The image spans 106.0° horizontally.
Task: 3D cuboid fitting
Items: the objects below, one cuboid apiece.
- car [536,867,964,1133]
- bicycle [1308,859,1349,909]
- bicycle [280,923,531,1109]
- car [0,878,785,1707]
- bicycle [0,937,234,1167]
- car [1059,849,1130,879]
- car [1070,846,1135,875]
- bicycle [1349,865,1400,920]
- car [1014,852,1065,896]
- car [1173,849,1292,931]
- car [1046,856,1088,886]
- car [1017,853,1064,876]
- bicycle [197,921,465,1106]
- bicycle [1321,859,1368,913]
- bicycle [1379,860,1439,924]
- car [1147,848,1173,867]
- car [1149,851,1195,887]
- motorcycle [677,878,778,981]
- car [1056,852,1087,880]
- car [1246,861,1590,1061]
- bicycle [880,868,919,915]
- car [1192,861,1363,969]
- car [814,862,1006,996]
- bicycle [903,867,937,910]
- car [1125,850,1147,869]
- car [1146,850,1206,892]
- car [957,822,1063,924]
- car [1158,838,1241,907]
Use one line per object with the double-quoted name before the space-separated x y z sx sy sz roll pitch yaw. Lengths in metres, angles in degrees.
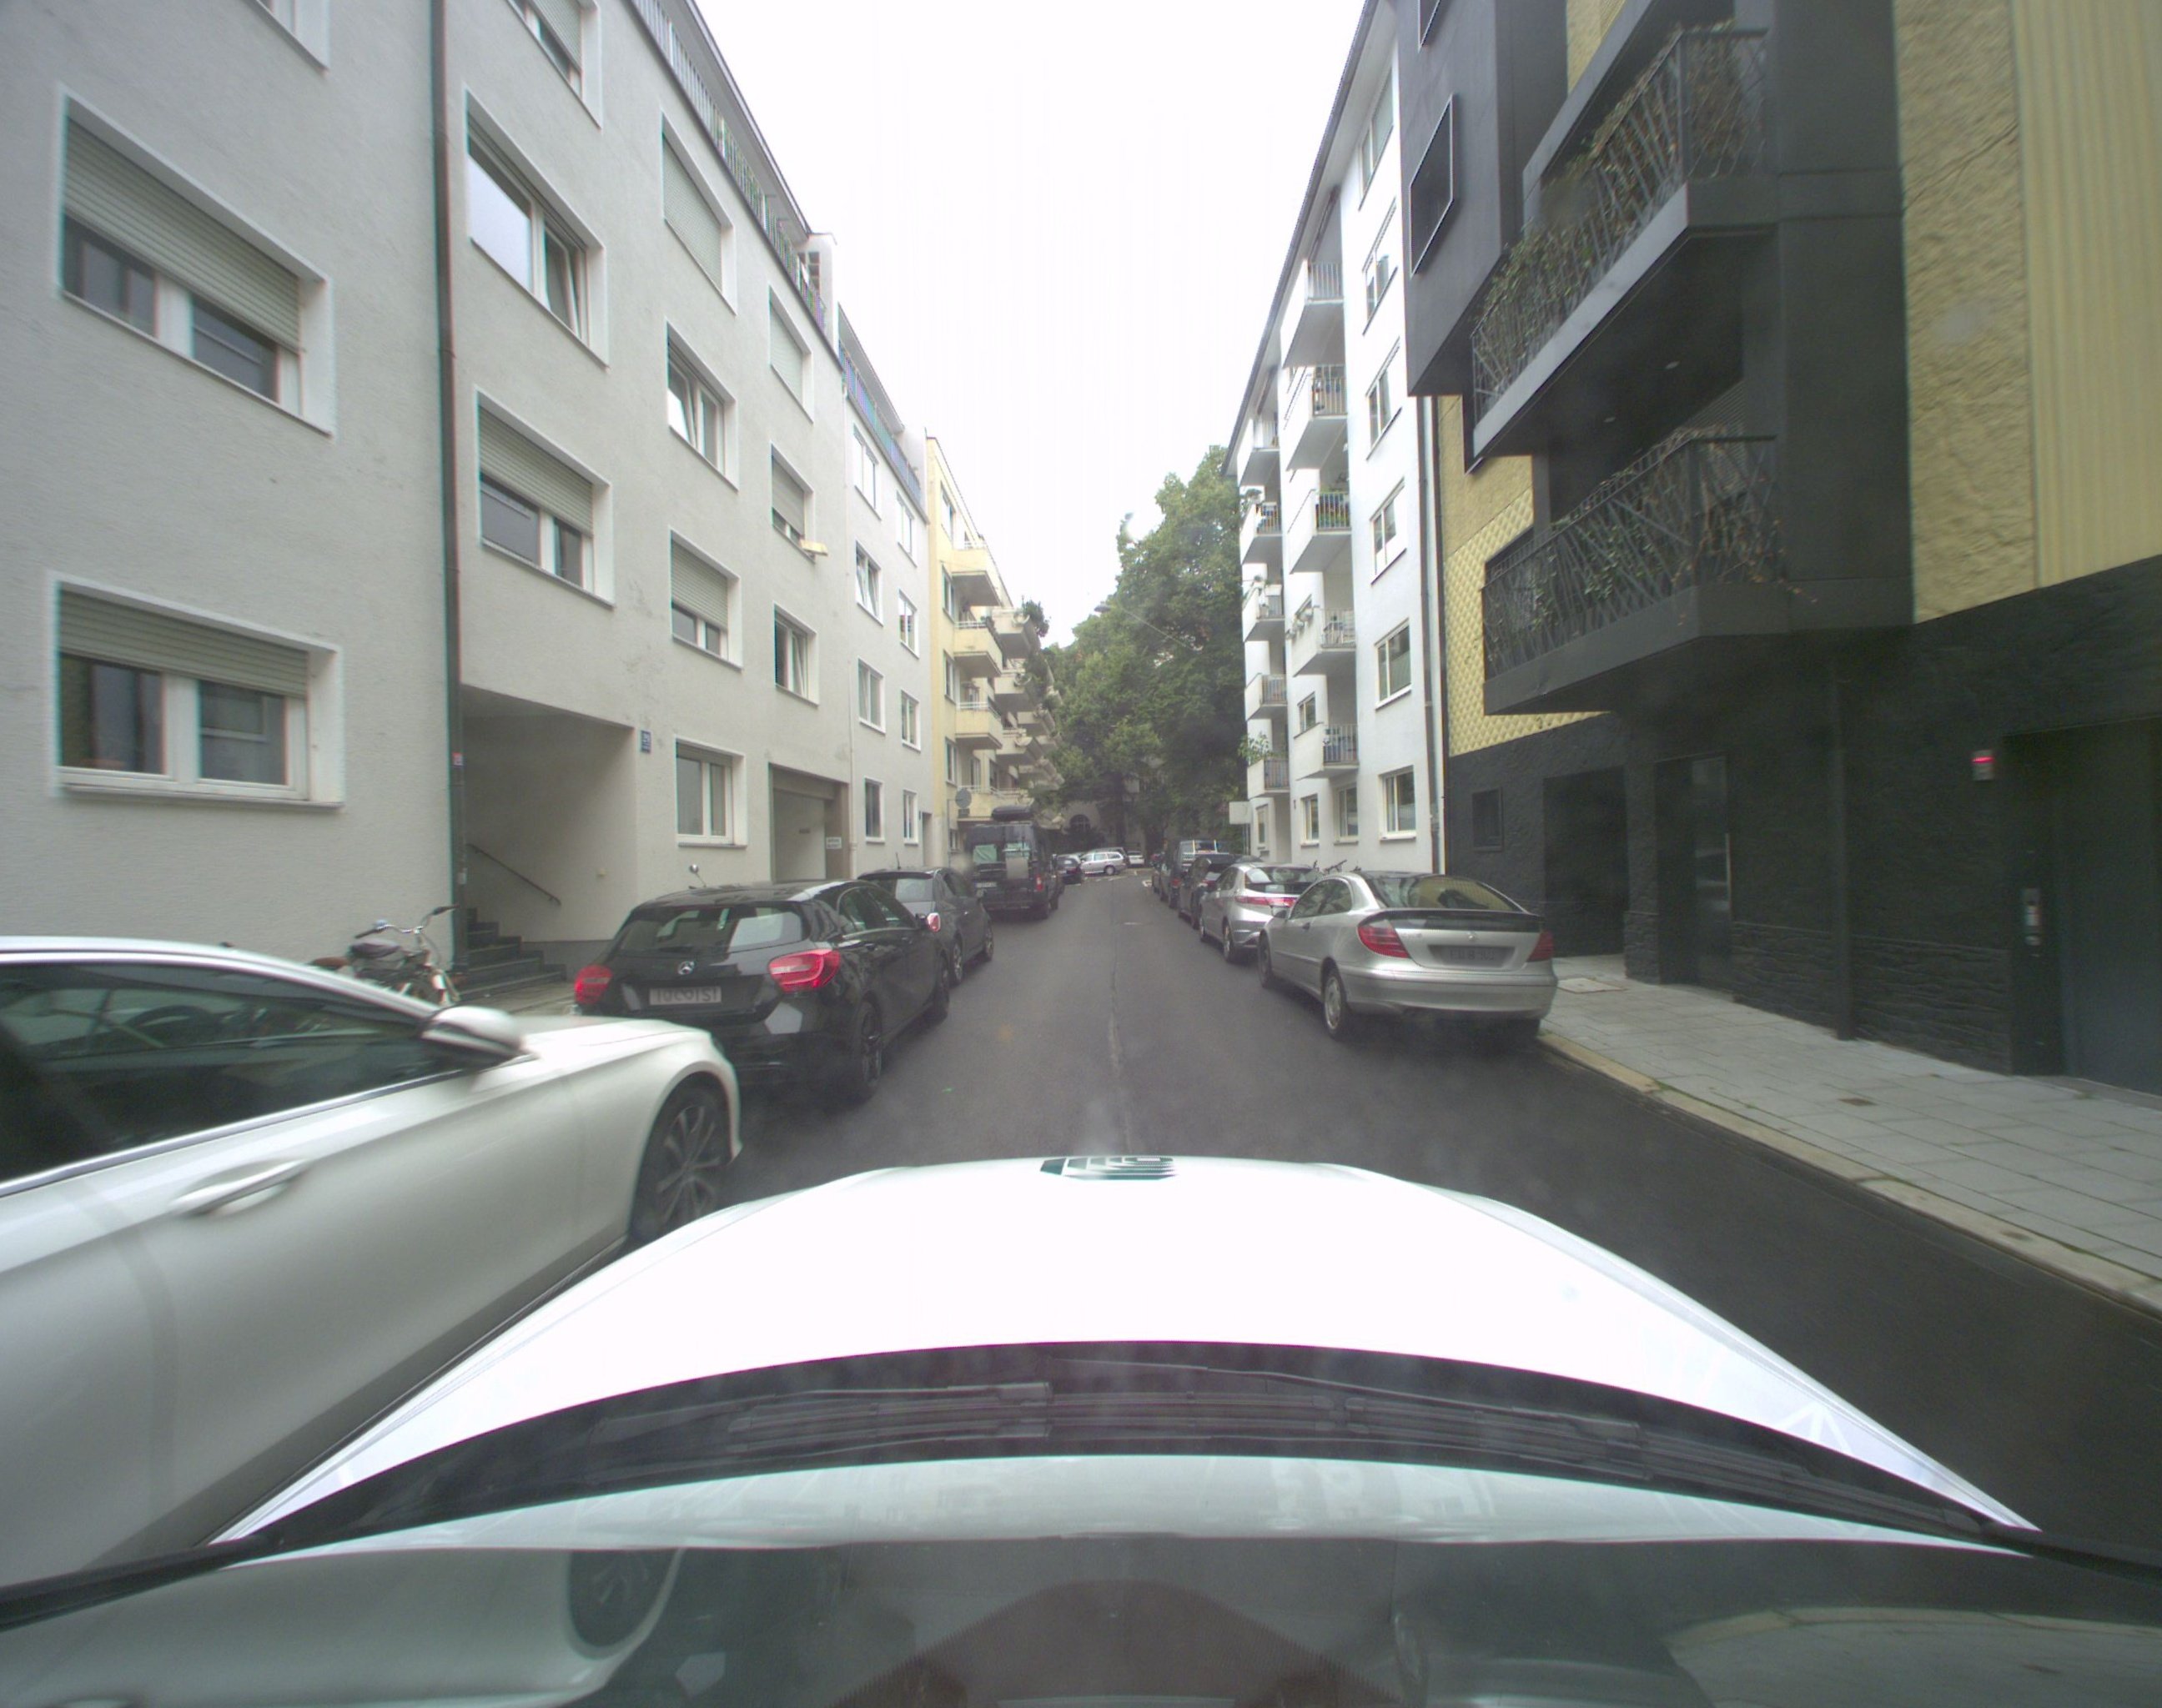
"car" -2.189 0.863 6.760 1.795 1.417 4.226 -2 0 0
"bicycle" 6.040 0.706 19.941 0.568 1.151 1.431 -1 0 1
"bicycle" -4.784 1.083 5.919 0.386 1.016 1.625 -3 0 2
"car" -2.533 0.858 1.715 1.905 1.437 4.810 -2 0 1
"bicycle" -5.463 1.029 4.305 0.377 1.016 1.442 -3 0 3
"car" 0.828 0.602 49.768 4.213 1.455 1.722 -4 0 1
"car" 1.451 0.419 55.008 4.206 1.684 1.902 -4 0 0
"bicycle" 5.856 0.747 16.326 0.475 1.002 1.552 -1 0 1
"car" -1.491 0.719 30.527 1.614 1.496 3.709 -2 0 1
"car" 3.239 0.725 18.368 1.899 1.554 4.626 -2 0 1
"car" -0.658 0.794 40.675 1.790 1.278 4.619 -3 0 2
"car" -3.071 0.791 61.636 3.296 1.631 1.501 -1 0 -18
"bicycle" -5.285 1.060 5.879 0.397 1.016 1.575 -3 0 2
"bicycle" 5.946 0.696 18.428 0.568 1.151 1.563 -1 0 1
"bicycle" 5.821 0.653 14.527 0.475 1.048 1.522 -1 0 1
"car" 6.406 0.249 65.643 1.781 1.431 4.010 -1 0 9
"car" 3.903 0.613 35.419 1.736 1.441 4.003 -2 0 3
"motorcycle" -4.688 0.951 10.938 0.598 1.203 1.856 -1 0 -3
"car" -0.480 0.640 45.667 1.555 1.421 3.834 -3 0 1
"car" 2.955 0.820 8.215 1.728 1.429 4.202 -2 0 0
"bicycle" -4.563 0.926 20.571 0.461 1.097 1.872 -1 0 3
"car" 2.977 0.856 13.285 1.754 1.431 4.260 1 0 0
"car" -2.196 0.908 11.485 1.605 1.446 3.746 -4 0 3
"bicycle" -4.468 0.934 22.714 0.461 1.097 1.872 -1 0 3
"car" 4.530 0.441 66.923 1.710 1.431 4.005 -1 0 4
"car" 3.499 0.596 30.696 1.827 1.419 4.059 -2 0 1
"car" -1.717 0.451 21.687 2.010 2.279 5.394 -3 0 2
"car" 3.387 0.497 24.136 1.867 1.791 4.783 -2 0 1
